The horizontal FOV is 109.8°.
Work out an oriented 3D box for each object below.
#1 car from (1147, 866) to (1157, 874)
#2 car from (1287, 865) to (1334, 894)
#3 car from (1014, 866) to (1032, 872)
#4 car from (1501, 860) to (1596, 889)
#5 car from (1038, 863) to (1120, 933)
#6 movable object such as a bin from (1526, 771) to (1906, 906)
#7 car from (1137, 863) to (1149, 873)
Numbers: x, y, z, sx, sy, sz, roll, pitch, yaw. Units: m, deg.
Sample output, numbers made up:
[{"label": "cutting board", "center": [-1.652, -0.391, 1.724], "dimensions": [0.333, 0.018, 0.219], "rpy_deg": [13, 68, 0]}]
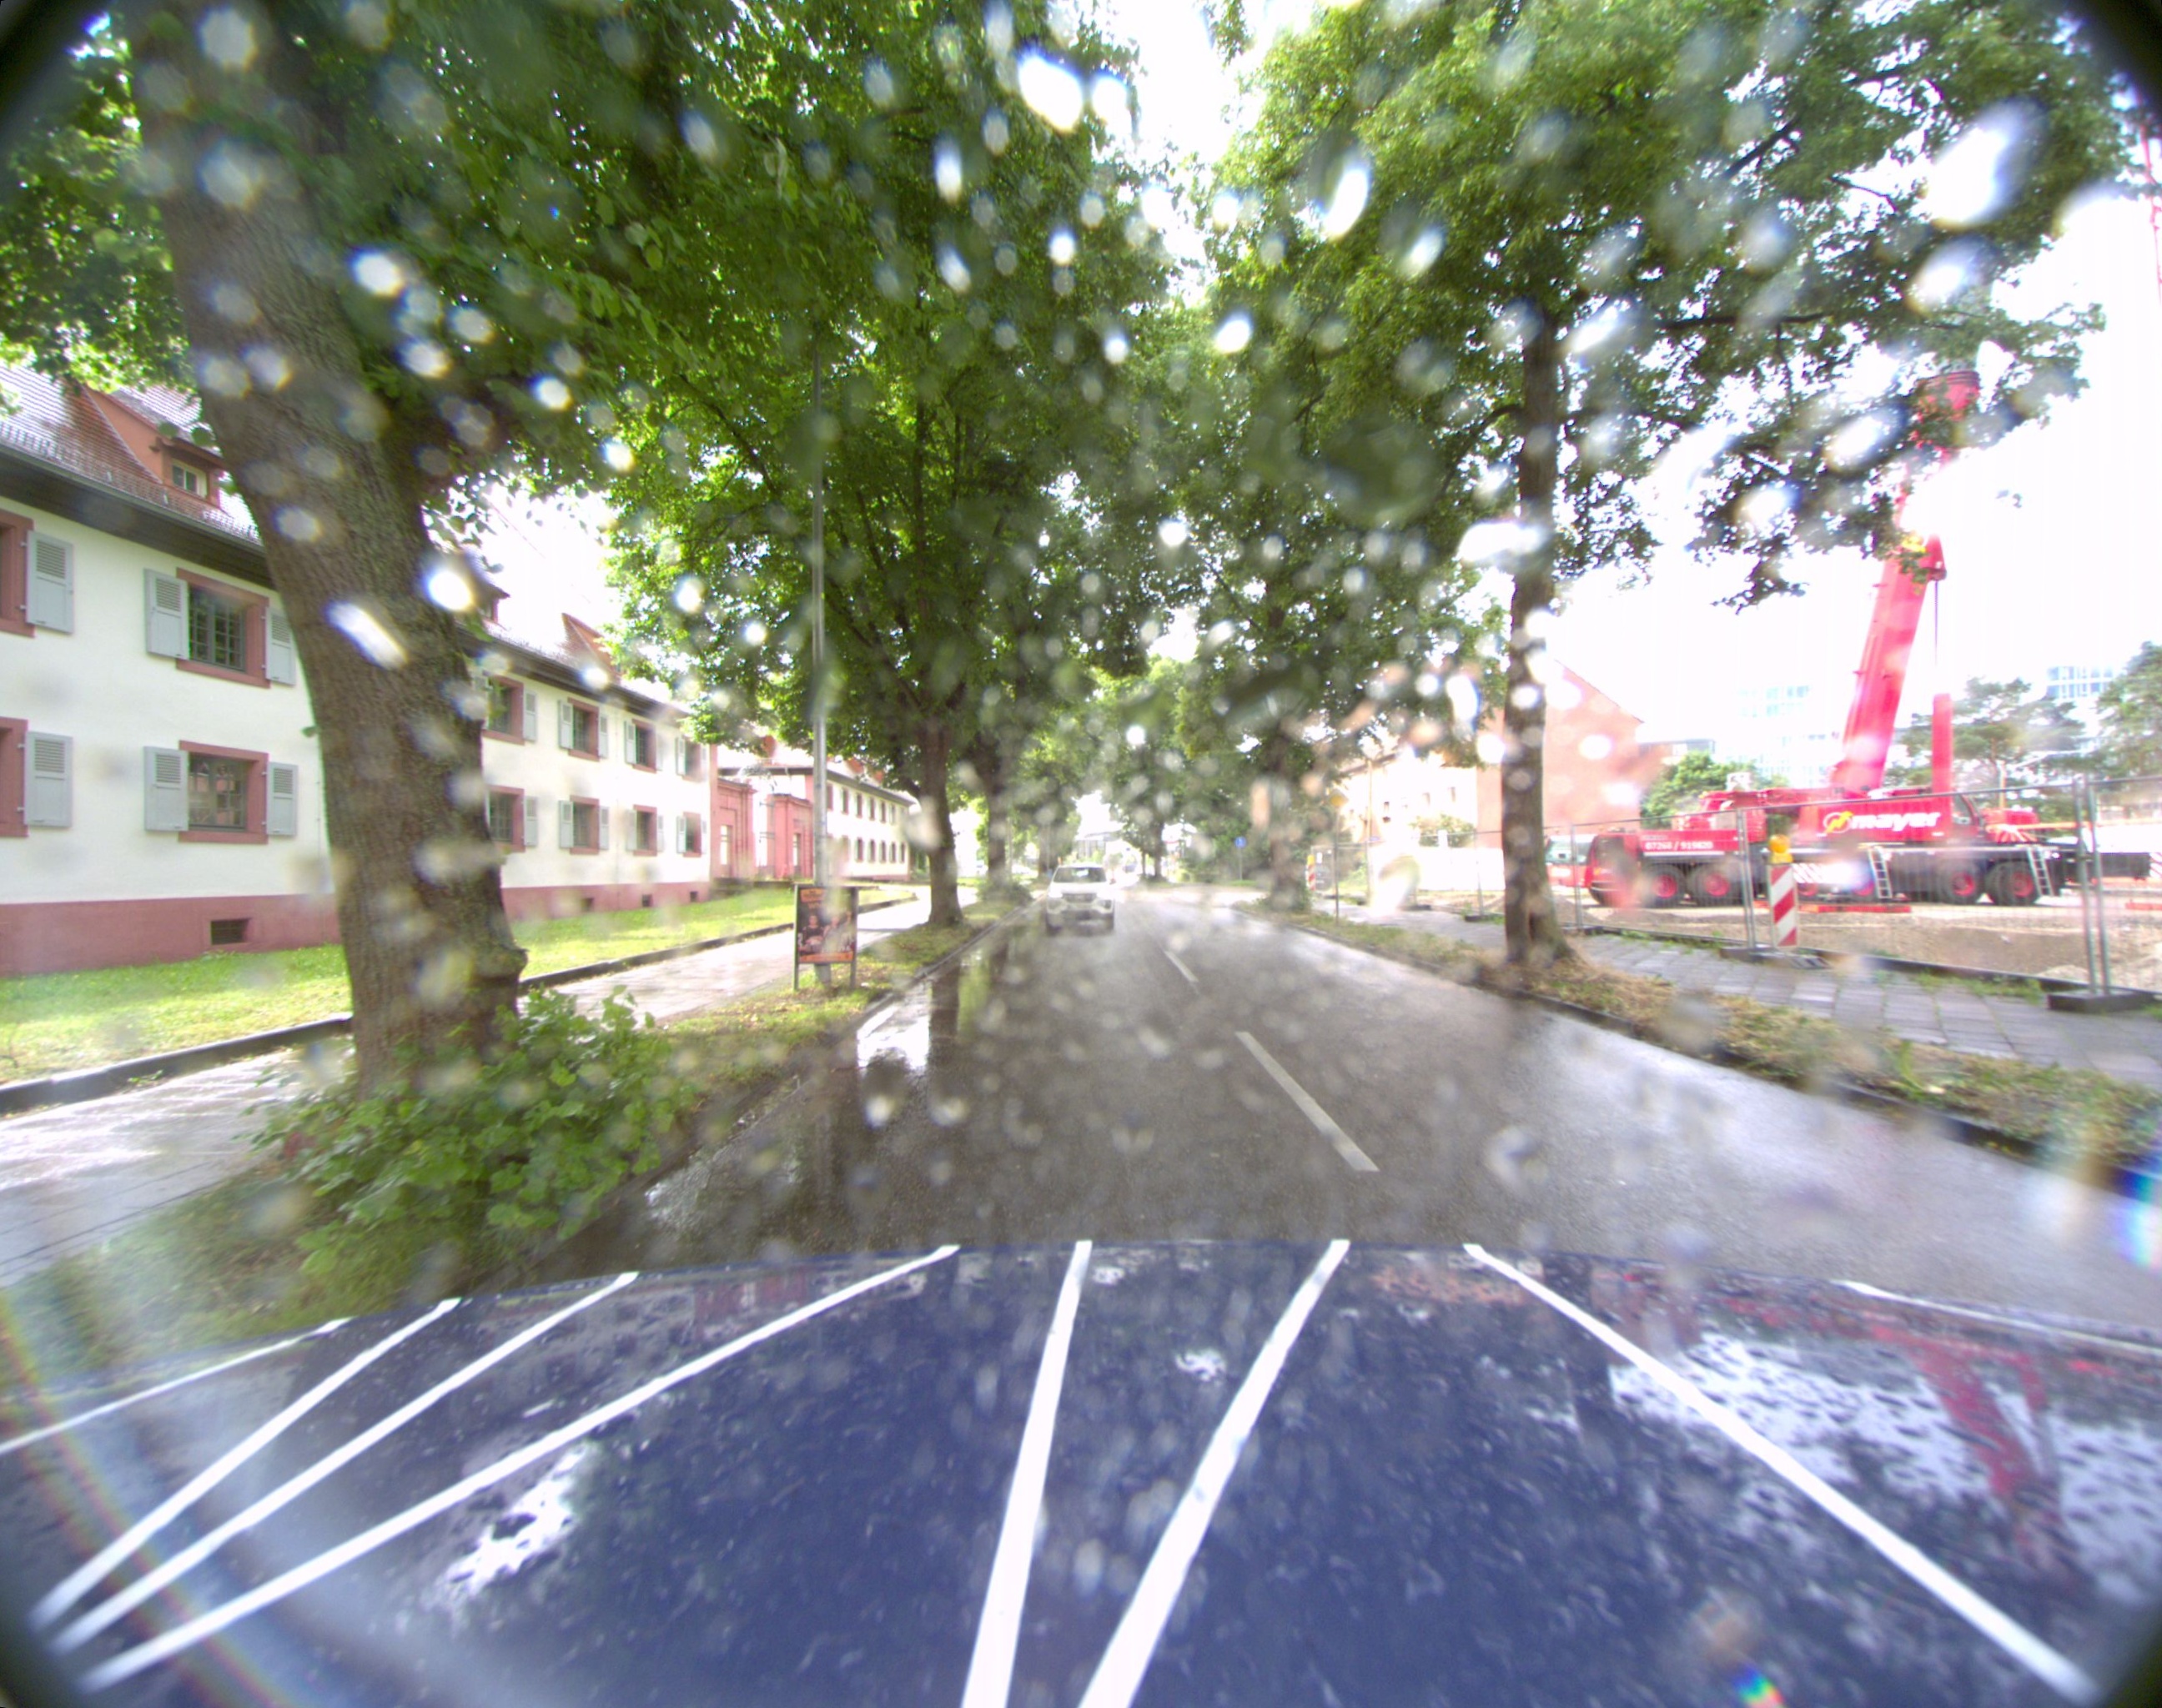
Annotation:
[{"label": "car", "center": [13.603, 3.047, 145.309], "dimensions": [1.683, 1.499, 3.795], "rpy_deg": [0, -1, 4]}, {"label": "car", "center": [13.373, 1.458, 44.395], "dimensions": [1.628, 1.412, 3.870], "rpy_deg": [-2, 1, 2]}, {"label": "car", "center": [-12.111, 3.080, 157.915], "dimensions": [3.451, 1.229, 1.496], "rpy_deg": [-1, -1, 21]}, {"label": "car", "center": [24.230, 1.041, 39.410], "dimensions": [4.067, 1.404, 1.726], "rpy_deg": [0, 0, -11]}, {"label": "car", "center": [0.049, 0.998, 18.477], "dimensions": [1.736, 1.524, 3.618], "rpy_deg": [-1, -1, 4]}, {"label": "movable object such as a bin", "center": [21.184, -0.432, 25.918], "dimensions": [9.834, 4.090, 3.367], "rpy_deg": [-1, -1, 3]}, {"label": "car", "center": [10.621, 2.371, 130.609], "dimensions": [1.891, 1.703, 4.230], "rpy_deg": [0, -1, 1]}]
